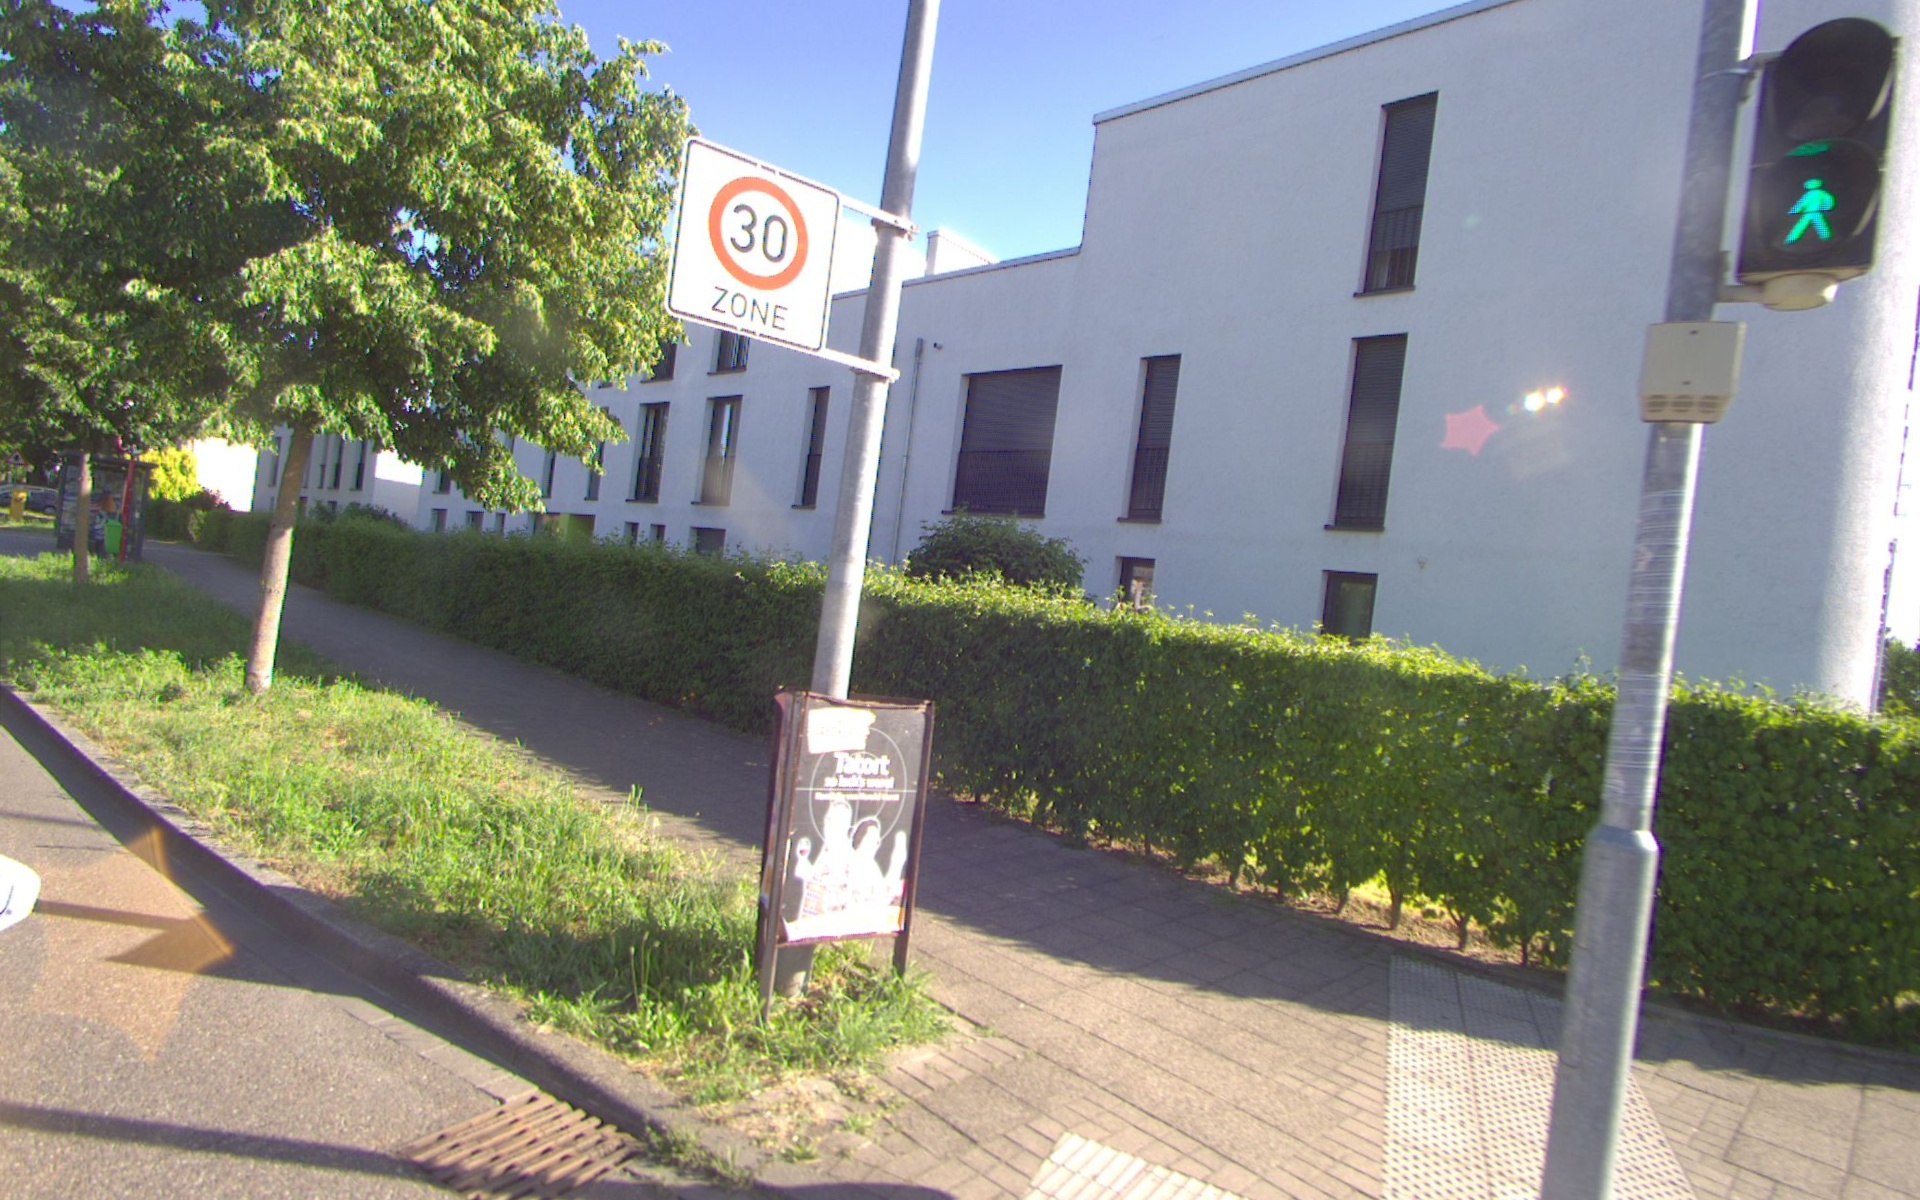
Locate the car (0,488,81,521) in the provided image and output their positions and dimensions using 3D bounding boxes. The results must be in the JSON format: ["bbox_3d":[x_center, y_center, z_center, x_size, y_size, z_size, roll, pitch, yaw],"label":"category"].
[{"bbox_3d":[-56.021,-5.812,60.921,1.823,1.385,3.978,7,-1,44],"label":"car"}]

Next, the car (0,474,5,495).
[{"bbox_3d":[-100.579,-12.161,102.977,1.975,2.037,3.977,5,-2,45],"label":"car"}]

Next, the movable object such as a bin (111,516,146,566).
[{"bbox_3d":[-18.252,-1.296,22.074,0.590,1.028,0.368,8,1,36],"label":"movable object such as a bin"}]
